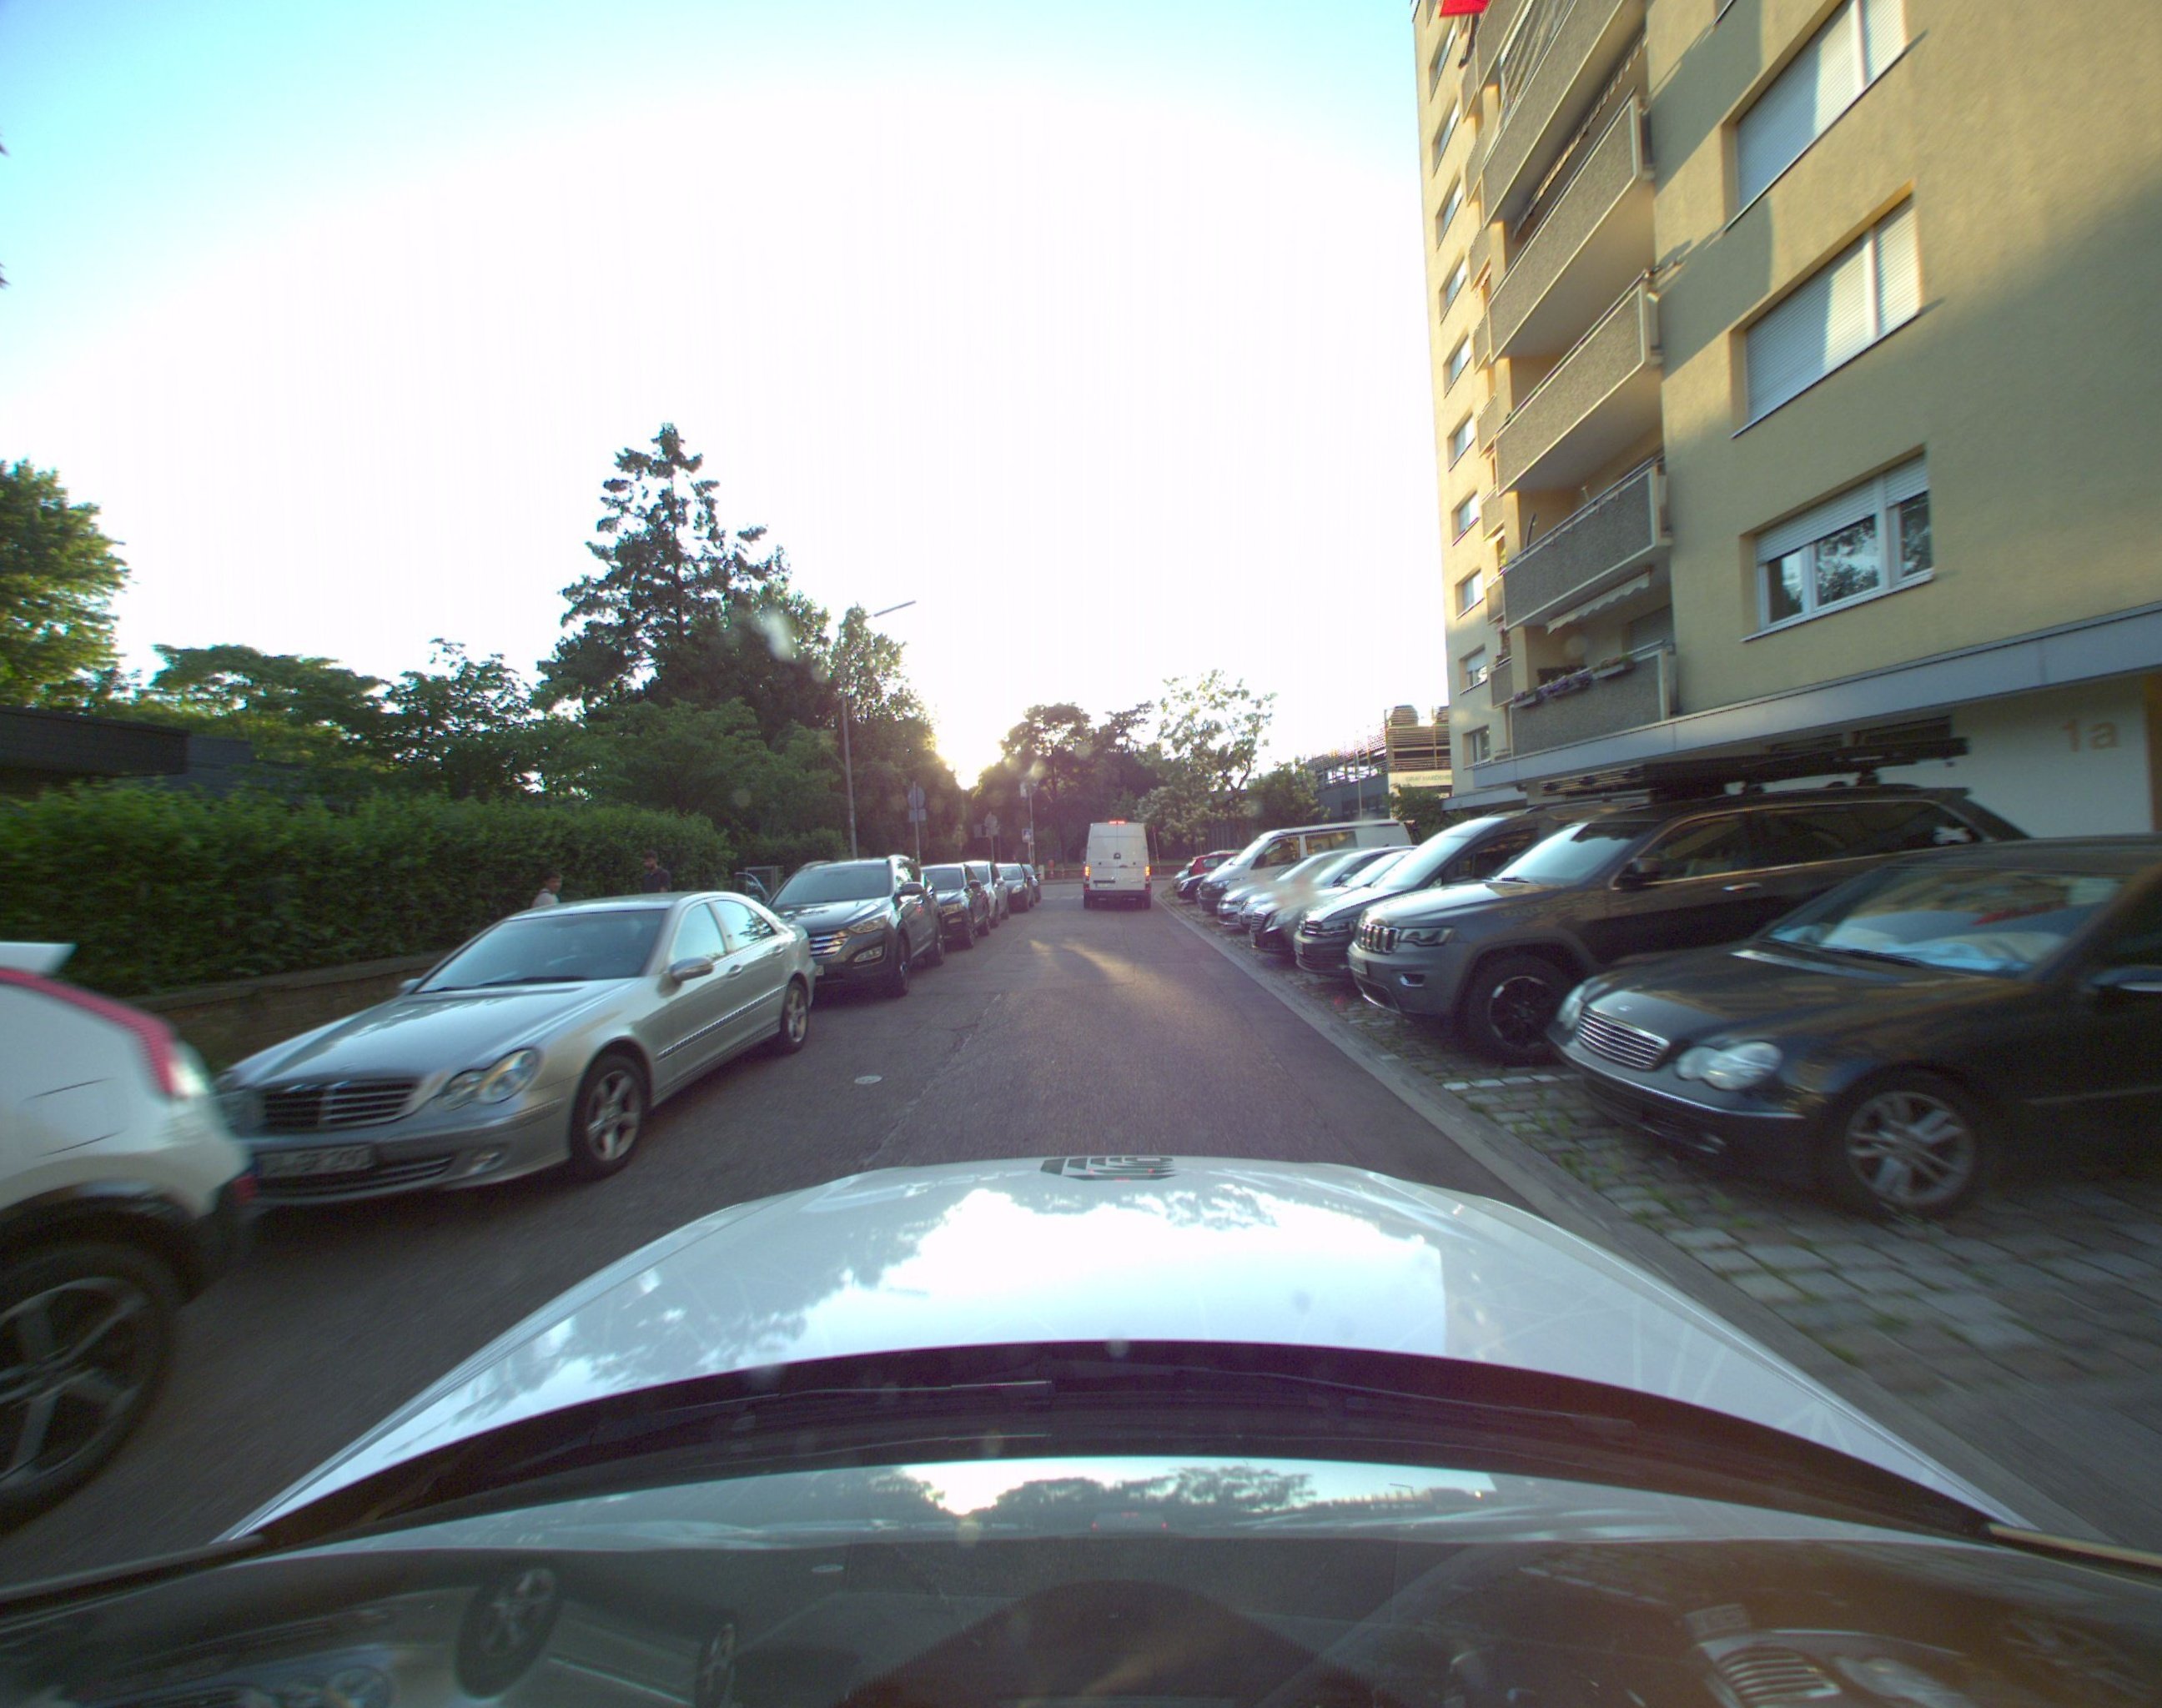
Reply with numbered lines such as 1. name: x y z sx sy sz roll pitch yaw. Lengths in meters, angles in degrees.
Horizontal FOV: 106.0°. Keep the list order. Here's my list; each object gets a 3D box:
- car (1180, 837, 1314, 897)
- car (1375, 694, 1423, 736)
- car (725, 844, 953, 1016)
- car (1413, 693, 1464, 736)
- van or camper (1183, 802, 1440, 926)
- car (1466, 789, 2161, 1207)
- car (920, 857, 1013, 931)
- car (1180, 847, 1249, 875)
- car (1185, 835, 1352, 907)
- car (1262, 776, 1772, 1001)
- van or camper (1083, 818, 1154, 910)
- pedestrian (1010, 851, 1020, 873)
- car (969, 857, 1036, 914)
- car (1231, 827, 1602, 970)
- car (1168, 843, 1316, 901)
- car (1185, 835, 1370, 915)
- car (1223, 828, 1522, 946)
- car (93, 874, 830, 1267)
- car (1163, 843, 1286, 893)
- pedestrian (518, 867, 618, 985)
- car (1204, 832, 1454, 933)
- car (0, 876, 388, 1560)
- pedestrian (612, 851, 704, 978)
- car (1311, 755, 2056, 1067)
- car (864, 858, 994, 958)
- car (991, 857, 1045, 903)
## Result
1. car: 5.879 0.459 29.262 4.385 1.631 1.847 -6 -1 3
2. car: 20.922 -9.102 53.704 1.983 2.014 4.008 -2 0 7
3. car: -2.927 0.809 10.885 1.729 1.730 4.321 -4 0 -1
4. car: 23.486 -9.143 53.616 1.983 2.014 4.008 -2 0 7
5. van or camper: 5.100 0.227 18.579 5.118 2.167 2.039 -6 -1 -1
6. car: 4.622 0.532 4.126 4.385 1.554 1.847 -4 -2 3
7. car: -2.777 0.909 20.554 1.729 1.567 4.127 -4 0 -1
8. car: 8.087 0.408 49.498 3.843 1.574 1.957 -2 0 -1
9. car: 5.452 0.517 24.050 4.391 1.661 1.845 -5 -2 -1
10. car: 4.601 0.376 9.166 4.621 1.981 1.846 -4 -2 1
11. van or camper: 1.193 0.288 26.856 1.986 2.618 6.405 -2 0 2
12. pedestrian: -4.997 0.633 61.824 0.644 1.649 0.674 -1 0 1
13. car: -2.410 0.931 25.759 1.729 1.567 3.695 -4 0 -1
14. car: 4.507 0.610 11.467 4.388 1.563 1.846 -4 -2 1
15. car: 5.184 0.590 26.646 4.391 1.531 1.845 -4 -2 -1
16. car: 5.060 0.558 21.417 4.313 1.661 1.780 -5 -2 -1
17. car: 4.799 0.558 13.906 4.388 1.593 1.846 -4 -2 1
18. car: -3.249 0.953 5.563 1.729 1.427 4.285 -4 0 -1
19. car: 5.534 0.563 31.840 4.391 1.631 1.845 -4 -2 -1
20. pedestrian: -6.868 0.939 10.958 0.745 1.508 0.902 1 0 0
21. car: 4.829 0.579 16.359 4.388 1.631 1.846 -4 -2 1
22. car: -3.378 0.903 0.762 1.754 1.543 4.278 -4 0 -1
23. pedestrian: -6.064 0.835 11.696 0.891 1.732 0.754 0 0 21
24. car: 4.392 0.398 6.521 4.497 1.863 1.846 -4 0 1
25. car: -2.799 0.931 15.927 1.729 1.567 4.165 -4 0 -1
26. car: -2.365 0.946 31.268 1.729 1.567 3.789 -4 0 -1
